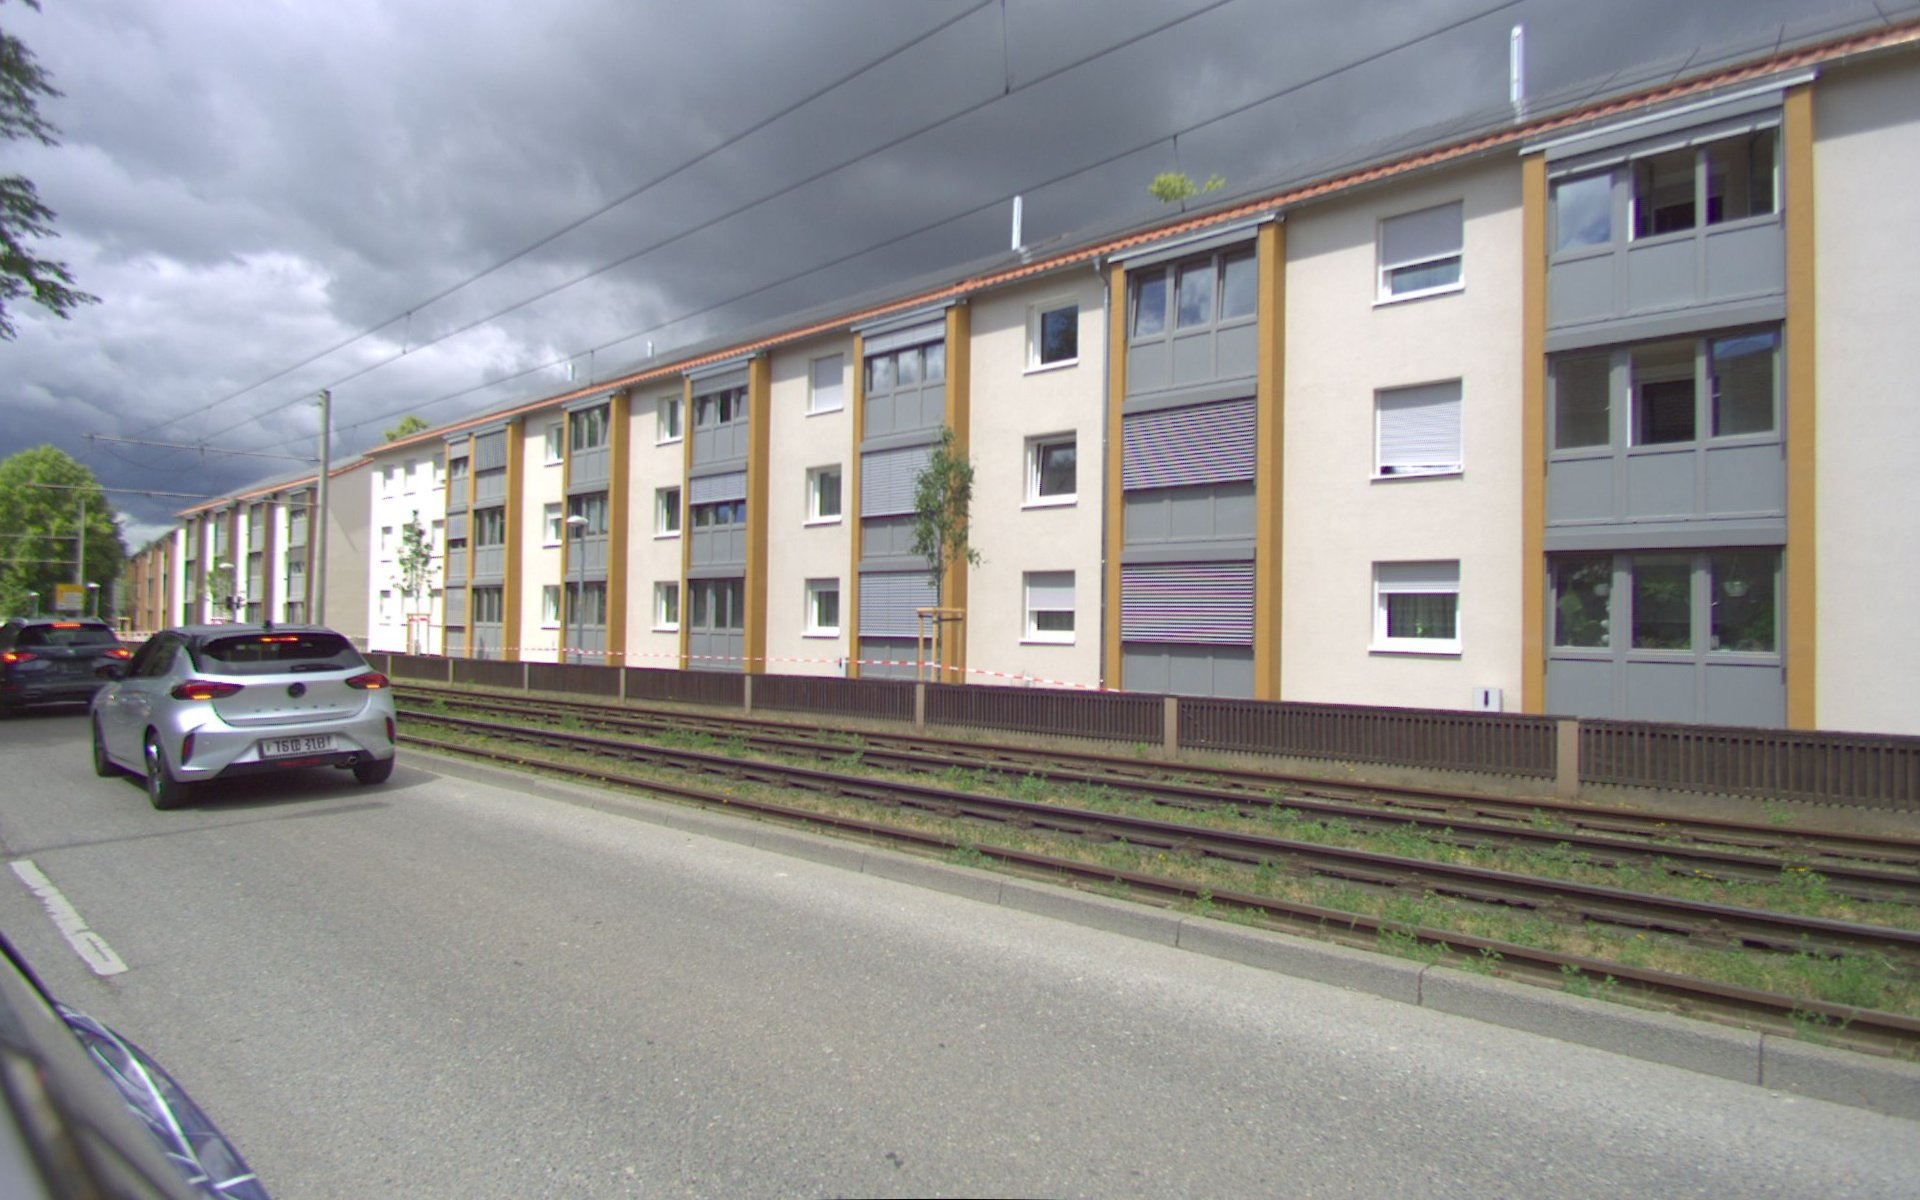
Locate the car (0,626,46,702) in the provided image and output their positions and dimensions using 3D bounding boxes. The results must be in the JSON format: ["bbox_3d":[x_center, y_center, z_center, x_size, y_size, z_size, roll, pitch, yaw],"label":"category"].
[{"bbox_3d":[-20.966,1.342,21.653,3.784,1.533,1.644,-1,-1,41],"label":"car"}]

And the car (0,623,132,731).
[{"bbox_3d":[-14.862,1.158,16.403,3.677,1.533,1.644,-1,-1,41],"label":"car"}]

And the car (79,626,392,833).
[{"bbox_3d":[-6.632,0.979,9.122,3.647,1.424,1.591,-1,0,43],"label":"car"}]
